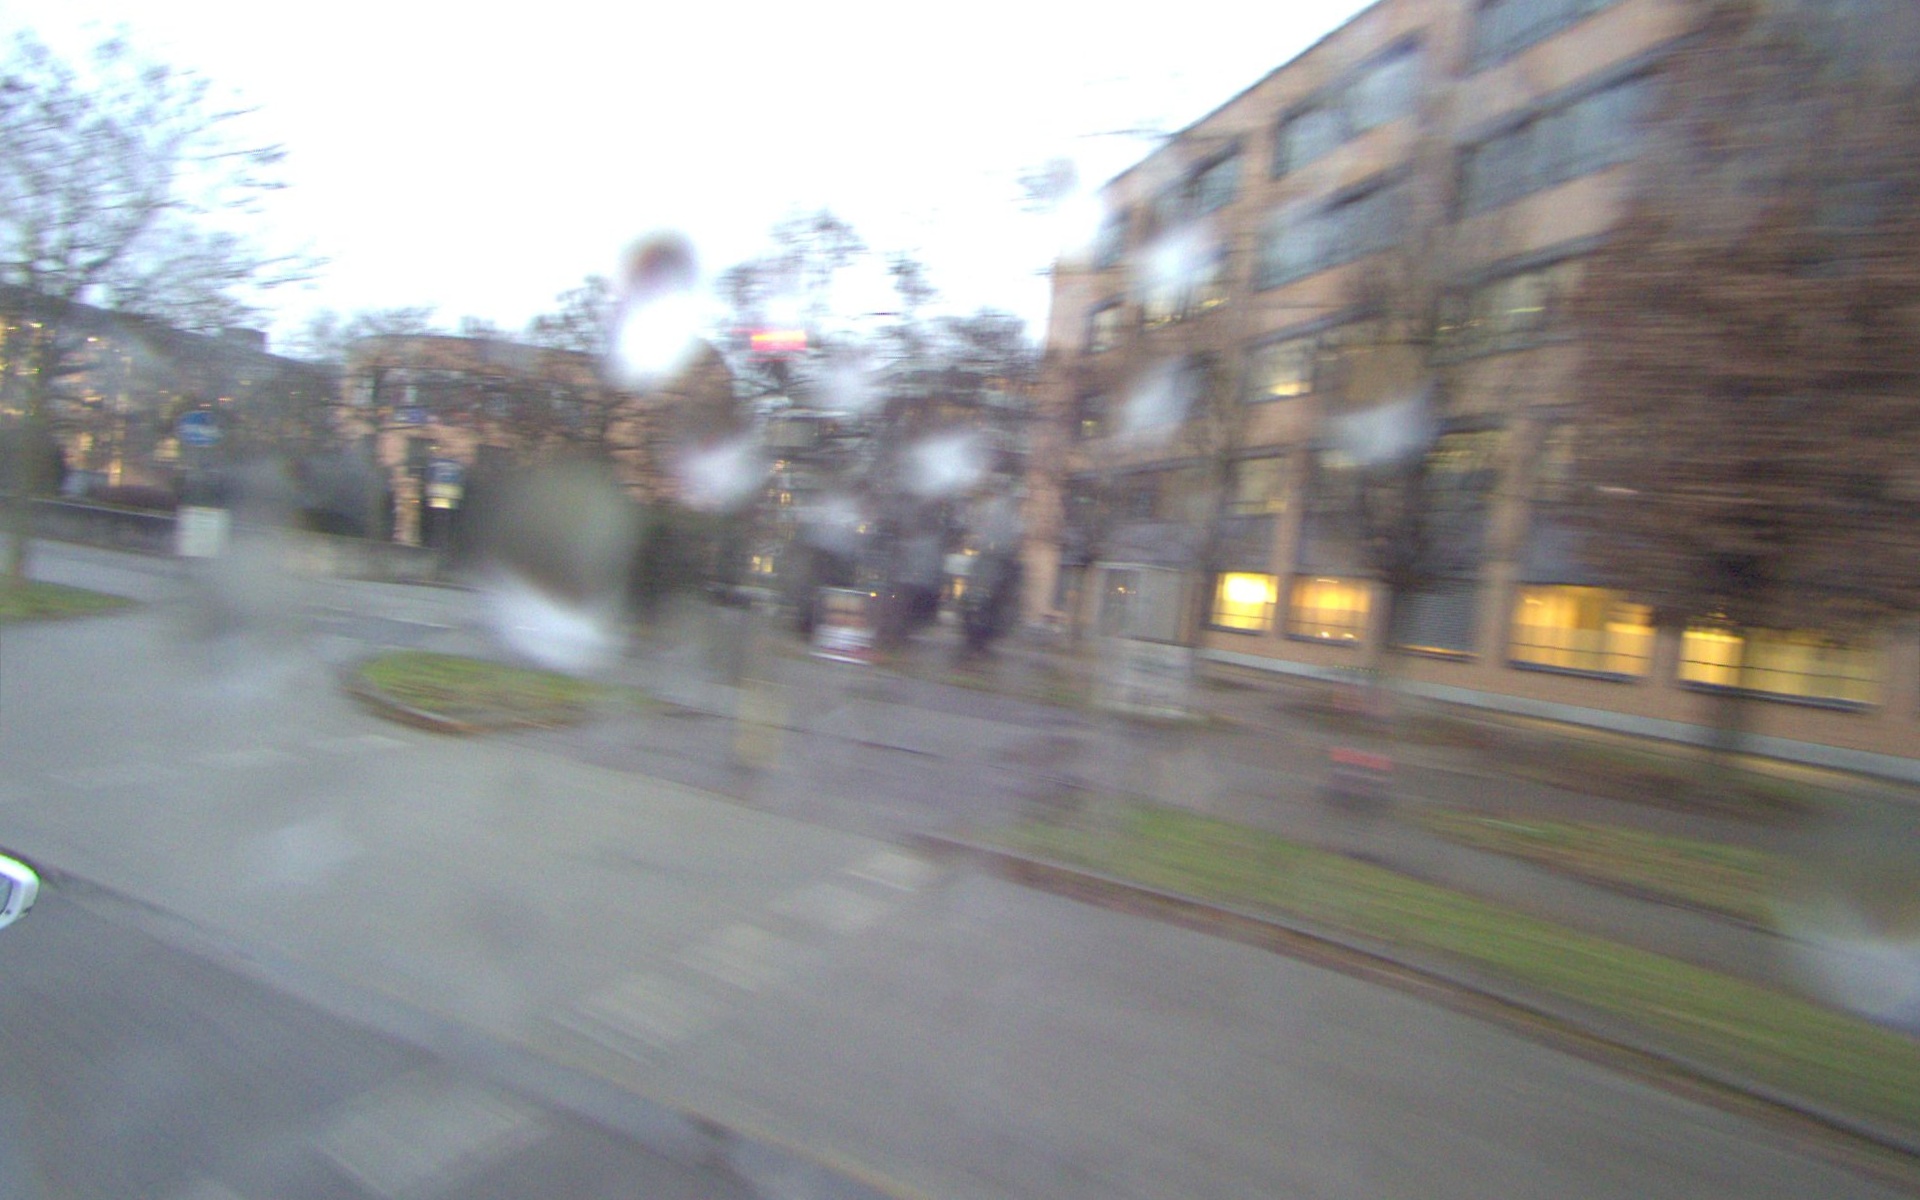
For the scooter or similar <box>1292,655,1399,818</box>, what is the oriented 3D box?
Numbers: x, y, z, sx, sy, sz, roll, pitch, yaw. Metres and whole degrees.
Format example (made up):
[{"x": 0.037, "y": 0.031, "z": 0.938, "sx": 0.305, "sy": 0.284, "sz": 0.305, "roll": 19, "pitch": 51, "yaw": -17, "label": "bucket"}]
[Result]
[{"x": 3.387, "y": 1.167, "z": 8.930, "sx": 0.478, "sy": 1.247, "sz": 1.145, "roll": 7, "pitch": 1, "yaw": 7, "label": "scooter or similar"}]
